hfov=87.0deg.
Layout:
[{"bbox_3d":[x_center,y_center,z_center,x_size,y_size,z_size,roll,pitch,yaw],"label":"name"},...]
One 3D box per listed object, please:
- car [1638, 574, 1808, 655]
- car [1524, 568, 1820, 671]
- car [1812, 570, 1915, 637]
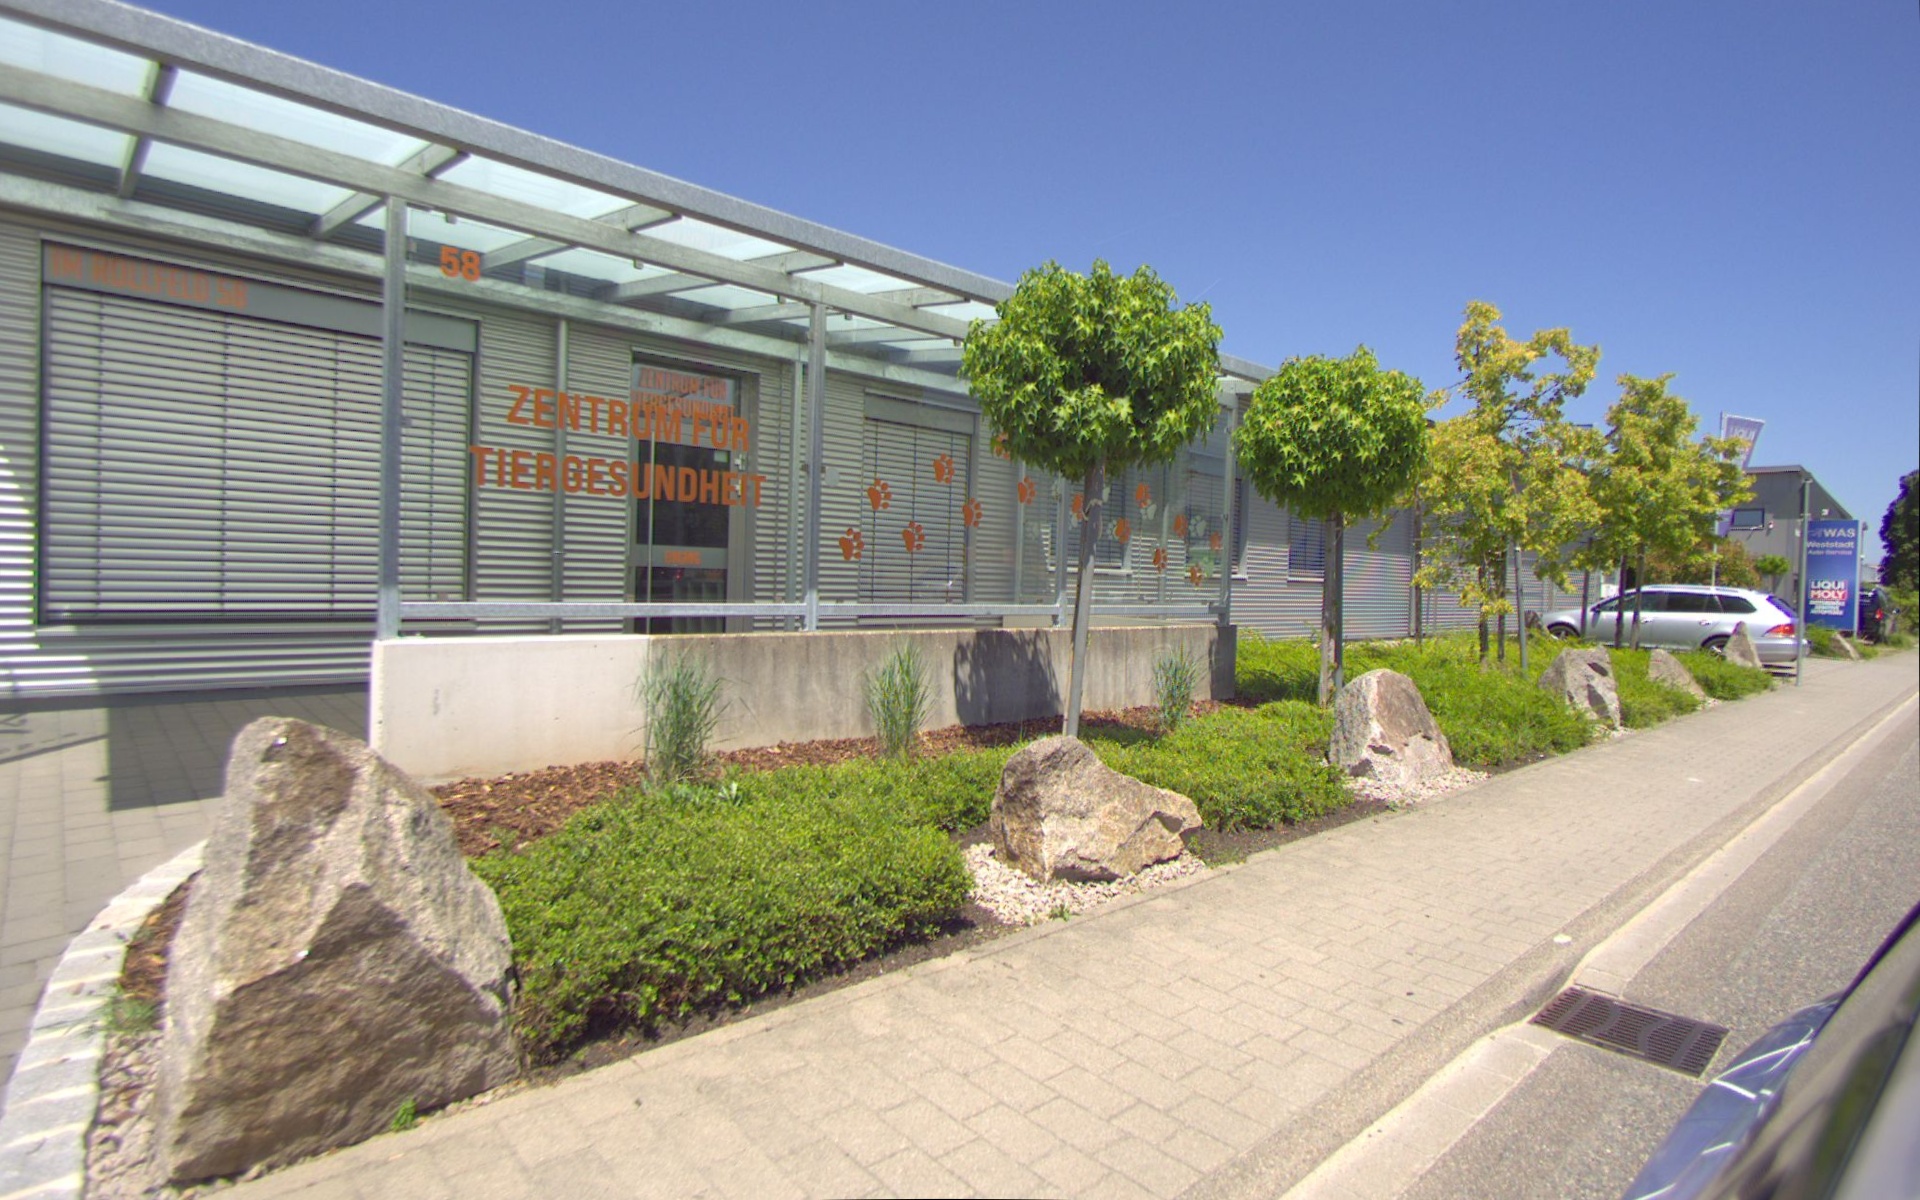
[{"bbox_3d":[16.827,0.286,22.394,1.388,1.560,2.712,1,3,-41],"label":"car"},{"bbox_3d":[13.326,0.279,19.126,1.882,1.560,4.283,0,3,-45],"label":"car"},{"bbox_3d":[30.722,0.110,34.354,5.245,2.038,1.997,1,2,-42],"label":"car"}]
